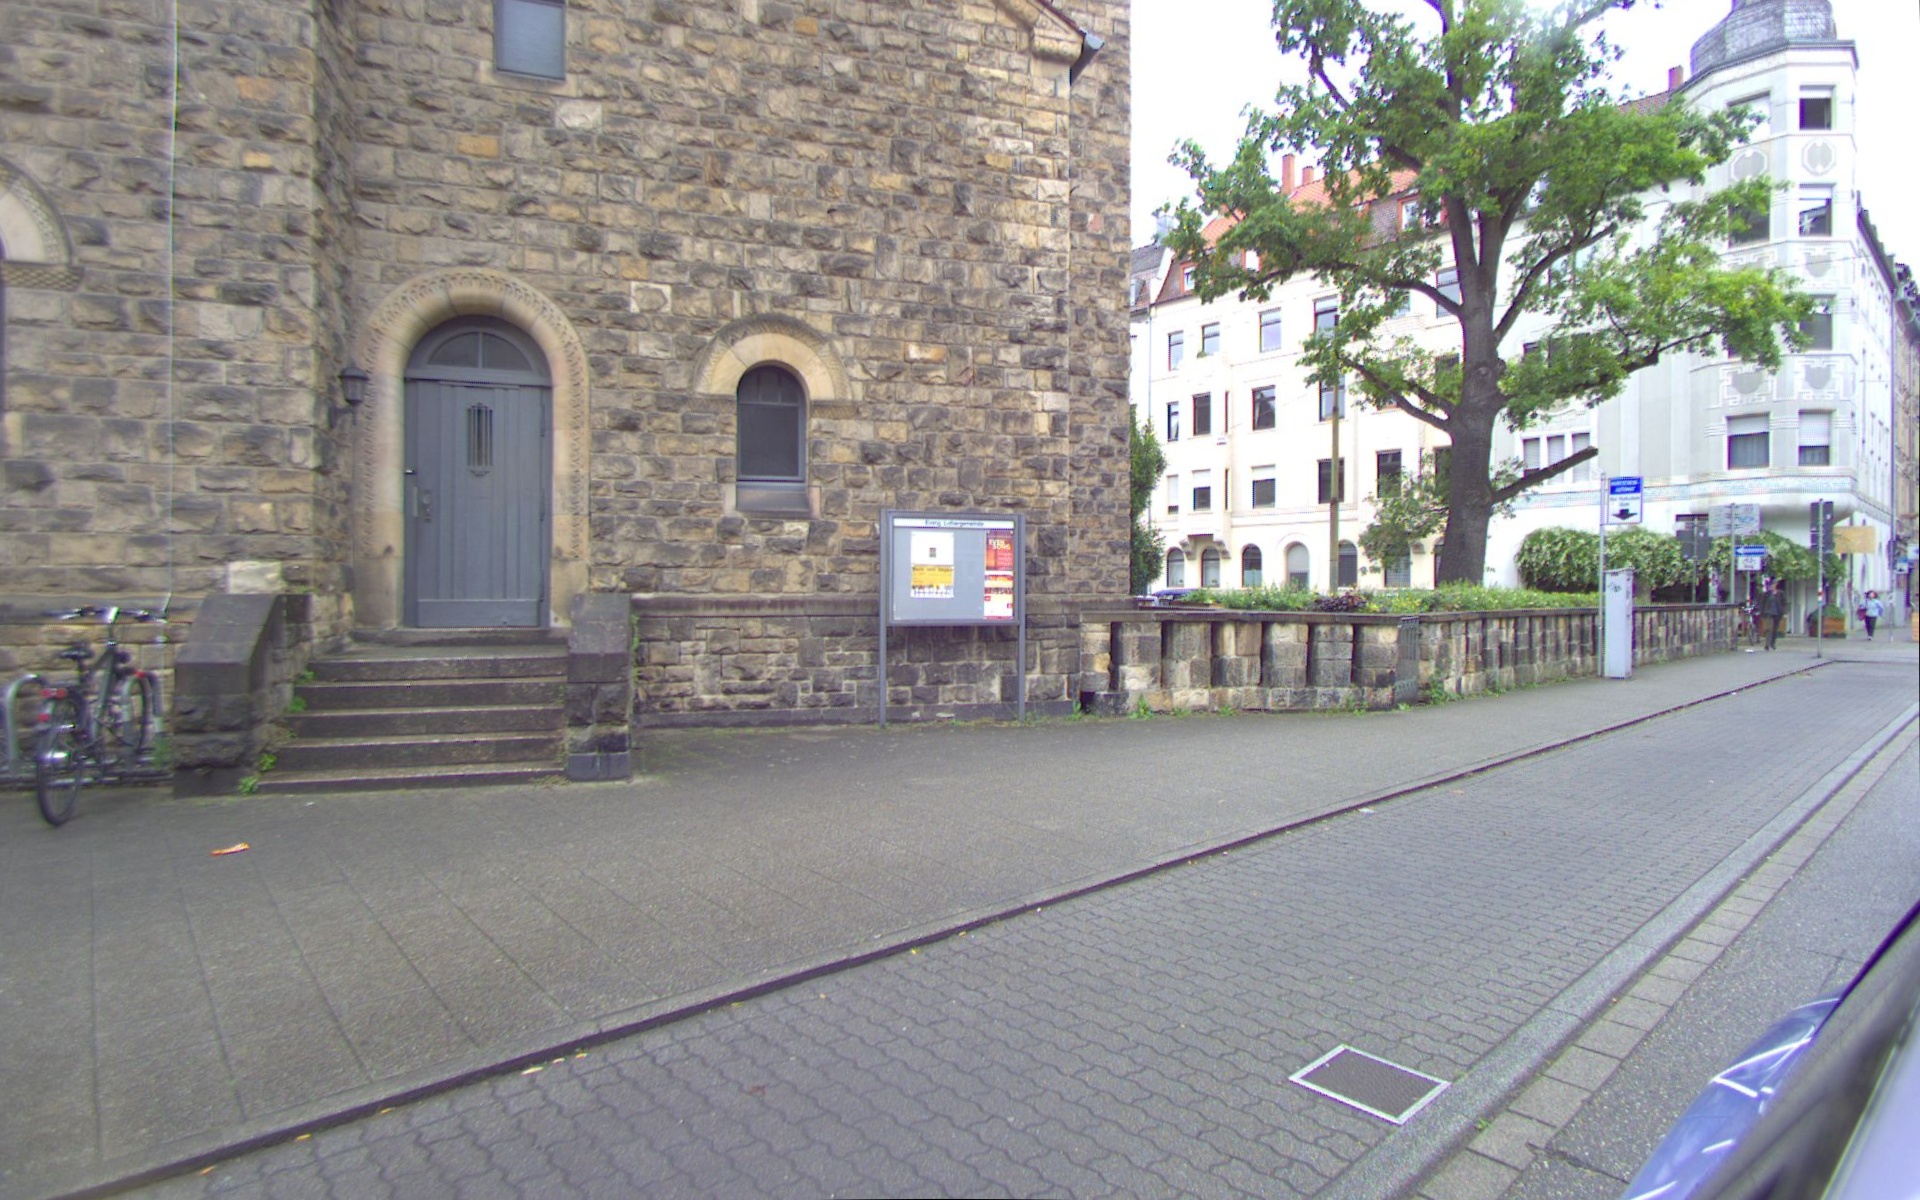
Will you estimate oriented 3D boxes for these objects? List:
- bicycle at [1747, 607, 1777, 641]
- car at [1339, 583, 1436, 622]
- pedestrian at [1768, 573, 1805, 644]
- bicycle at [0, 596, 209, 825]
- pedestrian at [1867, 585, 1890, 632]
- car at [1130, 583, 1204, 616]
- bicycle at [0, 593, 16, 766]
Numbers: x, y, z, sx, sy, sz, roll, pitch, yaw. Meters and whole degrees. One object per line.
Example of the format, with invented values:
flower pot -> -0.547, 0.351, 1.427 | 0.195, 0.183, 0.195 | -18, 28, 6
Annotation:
bicycle -> 24.482, 0.732, 30.890 | 1.990, 0.904, 0.390 | -3, 3, -42
car -> 16.888, 0.060, 40.088 | 1.421, 1.427, 3.271 | 0, 1, -38
pedestrian -> 22.387, 0.225, 27.405 | 0.681, 1.896, 0.645 | 0, 1, -42
bicycle -> -5.061, 0.553, 6.102 | 0.502, 1.067, 1.994 | 0, 3, -27
pedestrian -> 29.406, 0.261, 32.387 | 0.385, 1.479, 0.481 | 0, 1, -42
car -> 9.724, -0.053, 47.678 | 1.421, 1.427, 3.271 | 0, 1, -38
bicycle -> -6.277, 0.558, 5.973 | 0.550, 1.125, 1.717 | 0, 3, -27
